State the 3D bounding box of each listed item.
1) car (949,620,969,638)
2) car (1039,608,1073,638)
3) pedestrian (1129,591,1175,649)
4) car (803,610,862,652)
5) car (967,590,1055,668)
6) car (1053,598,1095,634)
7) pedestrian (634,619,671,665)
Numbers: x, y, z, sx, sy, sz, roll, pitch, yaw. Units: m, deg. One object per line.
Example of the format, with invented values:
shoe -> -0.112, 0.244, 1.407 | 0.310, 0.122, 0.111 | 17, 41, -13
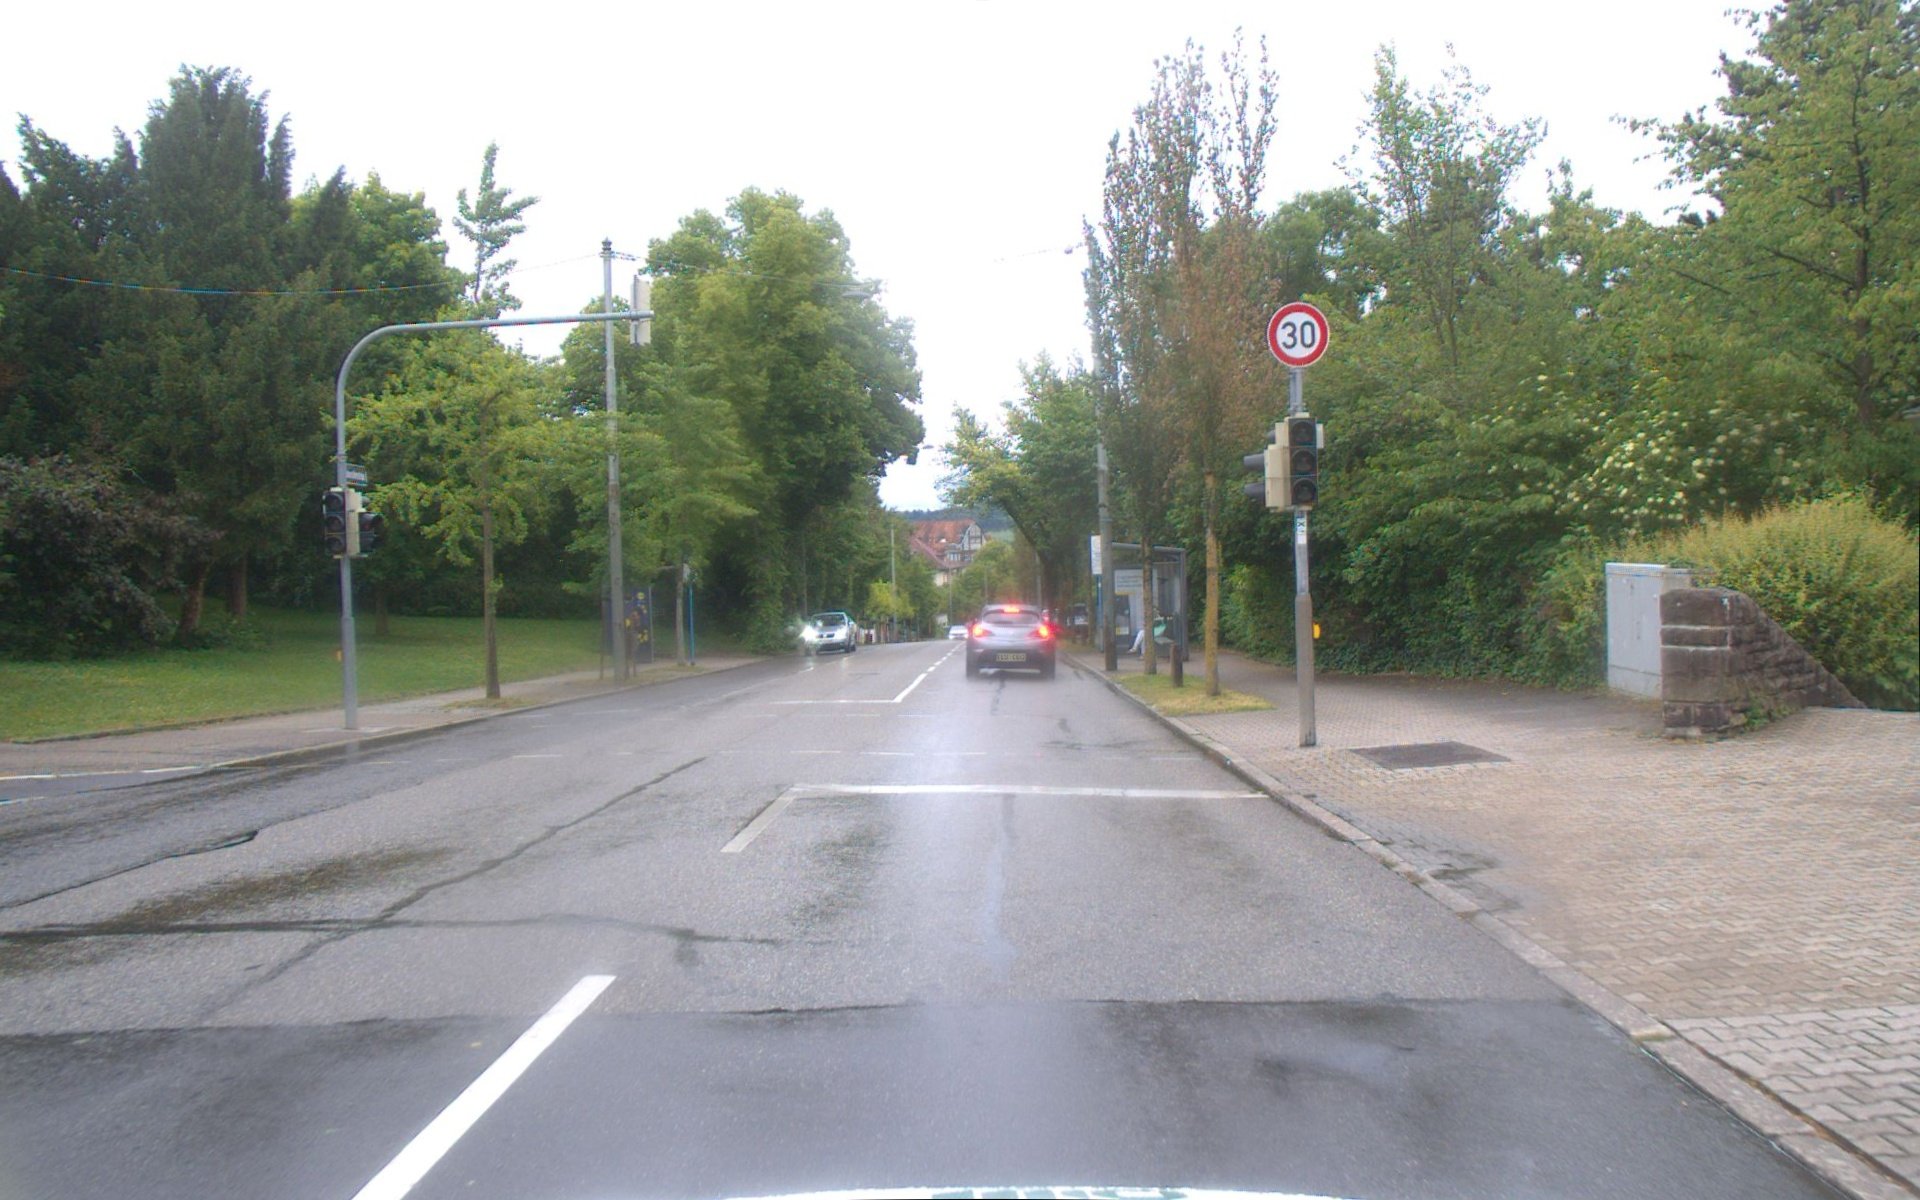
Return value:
car -> -0.055, 2.627, 148.943 | 1.686, 1.489, 4.001 | 2, 0, 1
car -> 5.194, 1.246, 89.765 | 1.686, 1.489, 4.001 | -3, 0, 2
pedestrian -> 4.854, 0.501, 41.772 | 1.051, 1.379, 0.919 | -3, -1, 8
car -> -4.533, 1.096, 59.280 | 1.686, 1.423, 4.001 | 1, 0, 1
car -> 1.033, 0.559, 34.353 | 1.718, 1.489, 4.001 | 1, 1, 1
car -> 5.123, 0.696, 74.605 | 1.686, 1.489, 4.001 | -3, 0, 2
pedestrian -> -9.834, 1.330, 52.927 | 0.917, 1.428, 0.919 | 1, 0, 8
